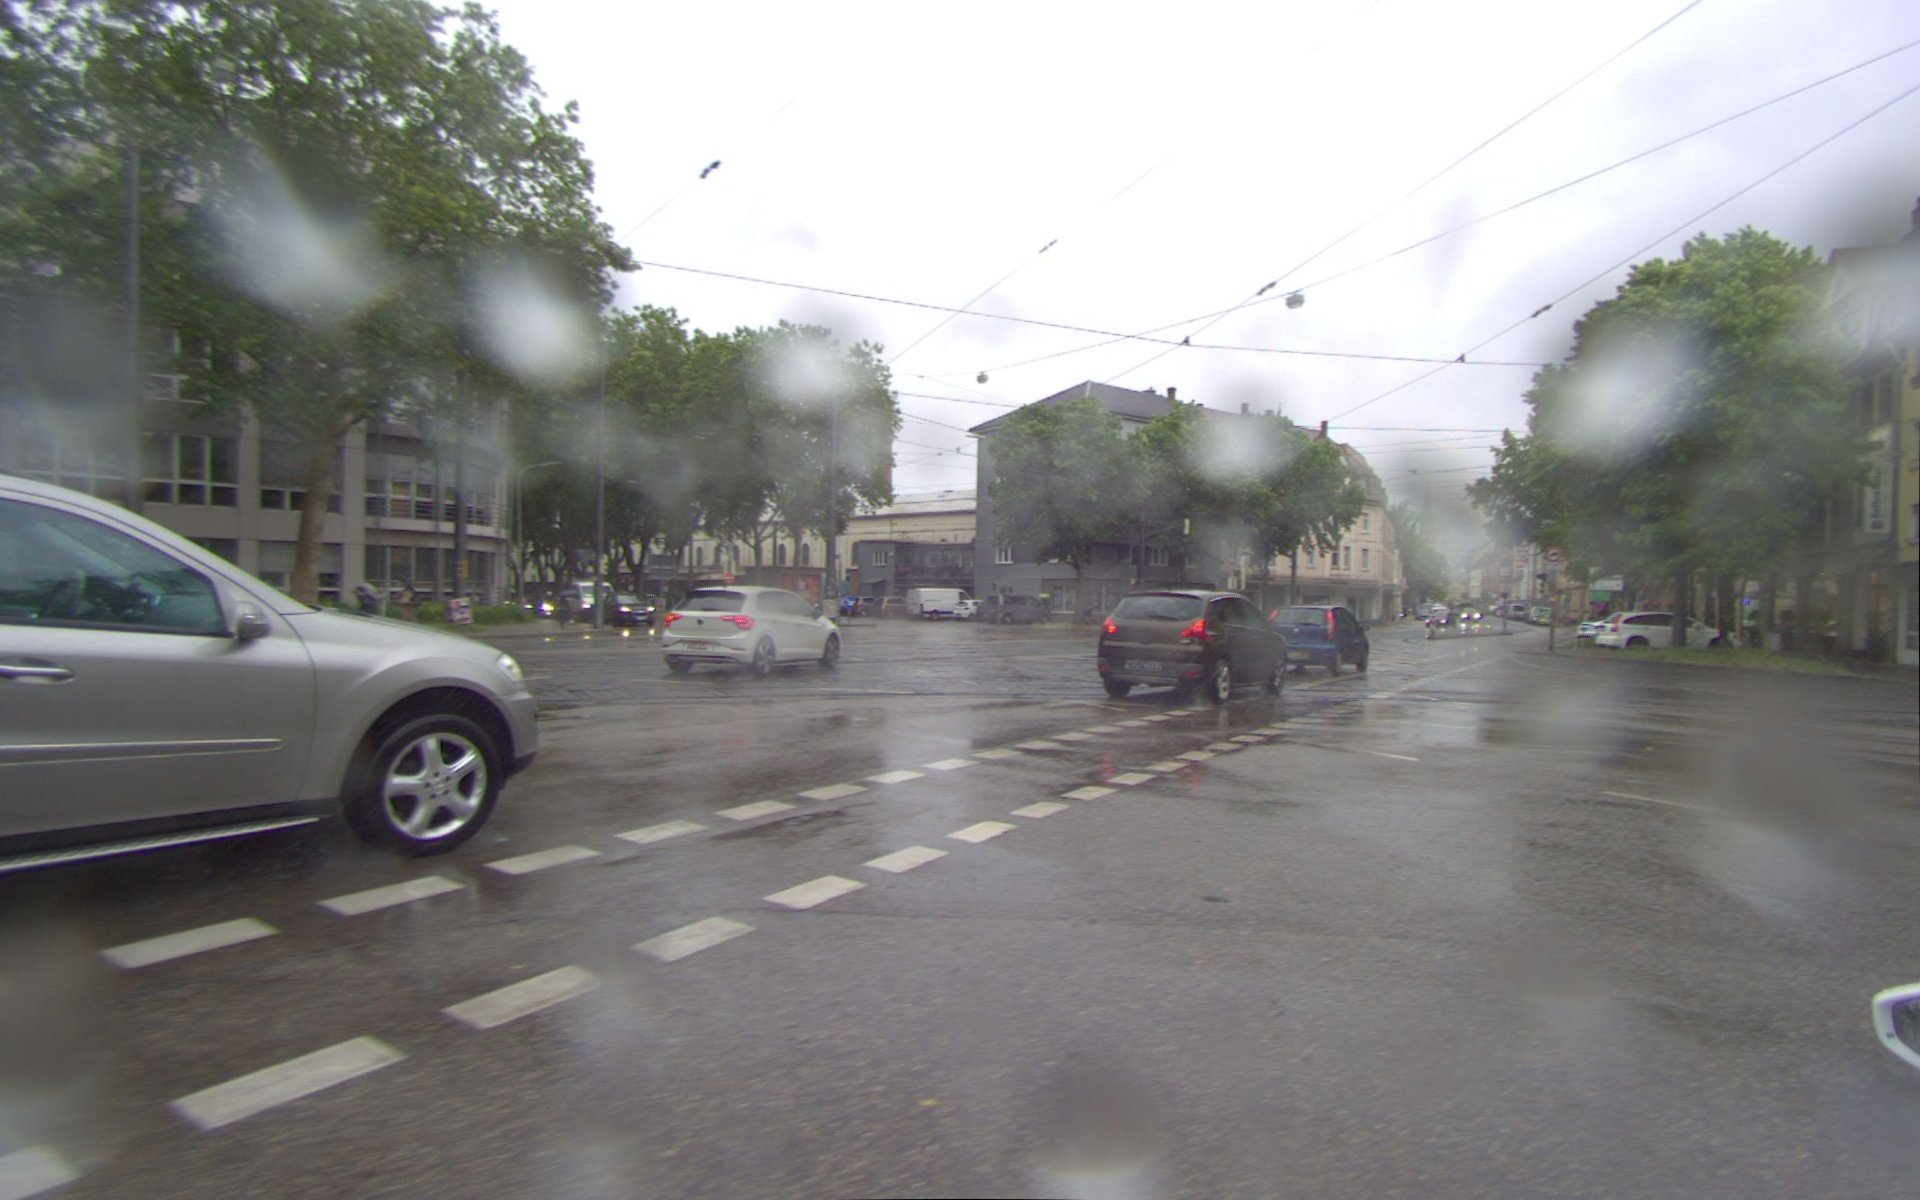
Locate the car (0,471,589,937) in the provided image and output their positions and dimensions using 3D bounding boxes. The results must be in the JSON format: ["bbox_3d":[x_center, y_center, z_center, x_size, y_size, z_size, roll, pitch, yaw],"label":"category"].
[{"bbox_3d":[-4.141,0.337,4.210,1.881,1.669,4.669,3,1,32],"label":"car"}]

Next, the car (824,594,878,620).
[{"bbox_3d":[-9.088,0.568,83.752,3.950,1.955,1.985,2,1,-28],"label":"car"}]

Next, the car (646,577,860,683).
[{"bbox_3d":[-3.407,0.450,17.418,1.776,1.557,4.191,1,0,18],"label":"car"}]

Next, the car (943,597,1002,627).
[{"bbox_3d":[0.905,0.862,72.162,1.973,2.041,3.974,2,1,45],"label":"car"}]

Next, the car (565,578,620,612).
[{"bbox_3d":[-21.027,-0.297,57.385,1.985,1.795,3.960,1,0,-35],"label":"car"}]

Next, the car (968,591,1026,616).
[{"bbox_3d":[2.630,0.271,70.773,1.901,1.639,3.974,2,1,45],"label":"car"}]

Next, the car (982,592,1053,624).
[{"bbox_3d":[3.907,0.549,67.863,4.348,2.041,2.049,1,1,-32],"label":"car"}]

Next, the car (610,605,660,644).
[{"bbox_3d":[-16.838,1.245,51.992,1.781,1.796,3.970,-1,2,-28],"label":"car"}]

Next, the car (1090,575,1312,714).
[{"bbox_3d":[3.749,0.577,15.100,1.777,1.732,4.177,3,1,35],"label":"car"}]

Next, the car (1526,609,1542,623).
[{"bbox_3d":[65.513,1.844,114.613,1.454,1.381,3.456,4,0,29],"label":"car"}]

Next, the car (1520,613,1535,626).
[{"bbox_3d":[67.977,2.308,120.329,1.454,1.381,3.456,4,0,29],"label":"car"}]

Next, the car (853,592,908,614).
[{"bbox_3d":[-6.430,0.262,81.249,3.963,1.635,1.979,1,0,-37],"label":"car"}]

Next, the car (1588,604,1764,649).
[{"bbox_3d":[26.259,0.937,37.057,4.891,1.494,2.000,1,0,21],"label":"car"}]

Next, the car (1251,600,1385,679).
[{"bbox_3d":[7.901,0.895,21.973,1.856,1.478,3.823,3,-2,33],"label":"car"}]

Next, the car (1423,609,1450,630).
[{"bbox_3d":[42.850,1.776,90.241,1.963,1.711,3.995,4,0,27],"label":"car"}]

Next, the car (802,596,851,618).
[{"bbox_3d":[-11.865,0.620,89.374,3.956,1.678,1.771,4,0,-32],"label":"car"}]

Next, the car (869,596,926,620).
[{"bbox_3d":[-4.837,0.620,77.913,3.964,1.635,1.979,4,-1,-37],"label":"car"}]

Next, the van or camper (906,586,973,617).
[{"bbox_3d":[-1.495,0.121,73.529,4.615,2.103,1.978,3,0,-39],"label":"van or camper"}]

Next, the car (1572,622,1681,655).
[{"bbox_3d":[35.972,2.042,54.316,1.983,1.577,4.544,0,1,-38],"label":"car"}]
